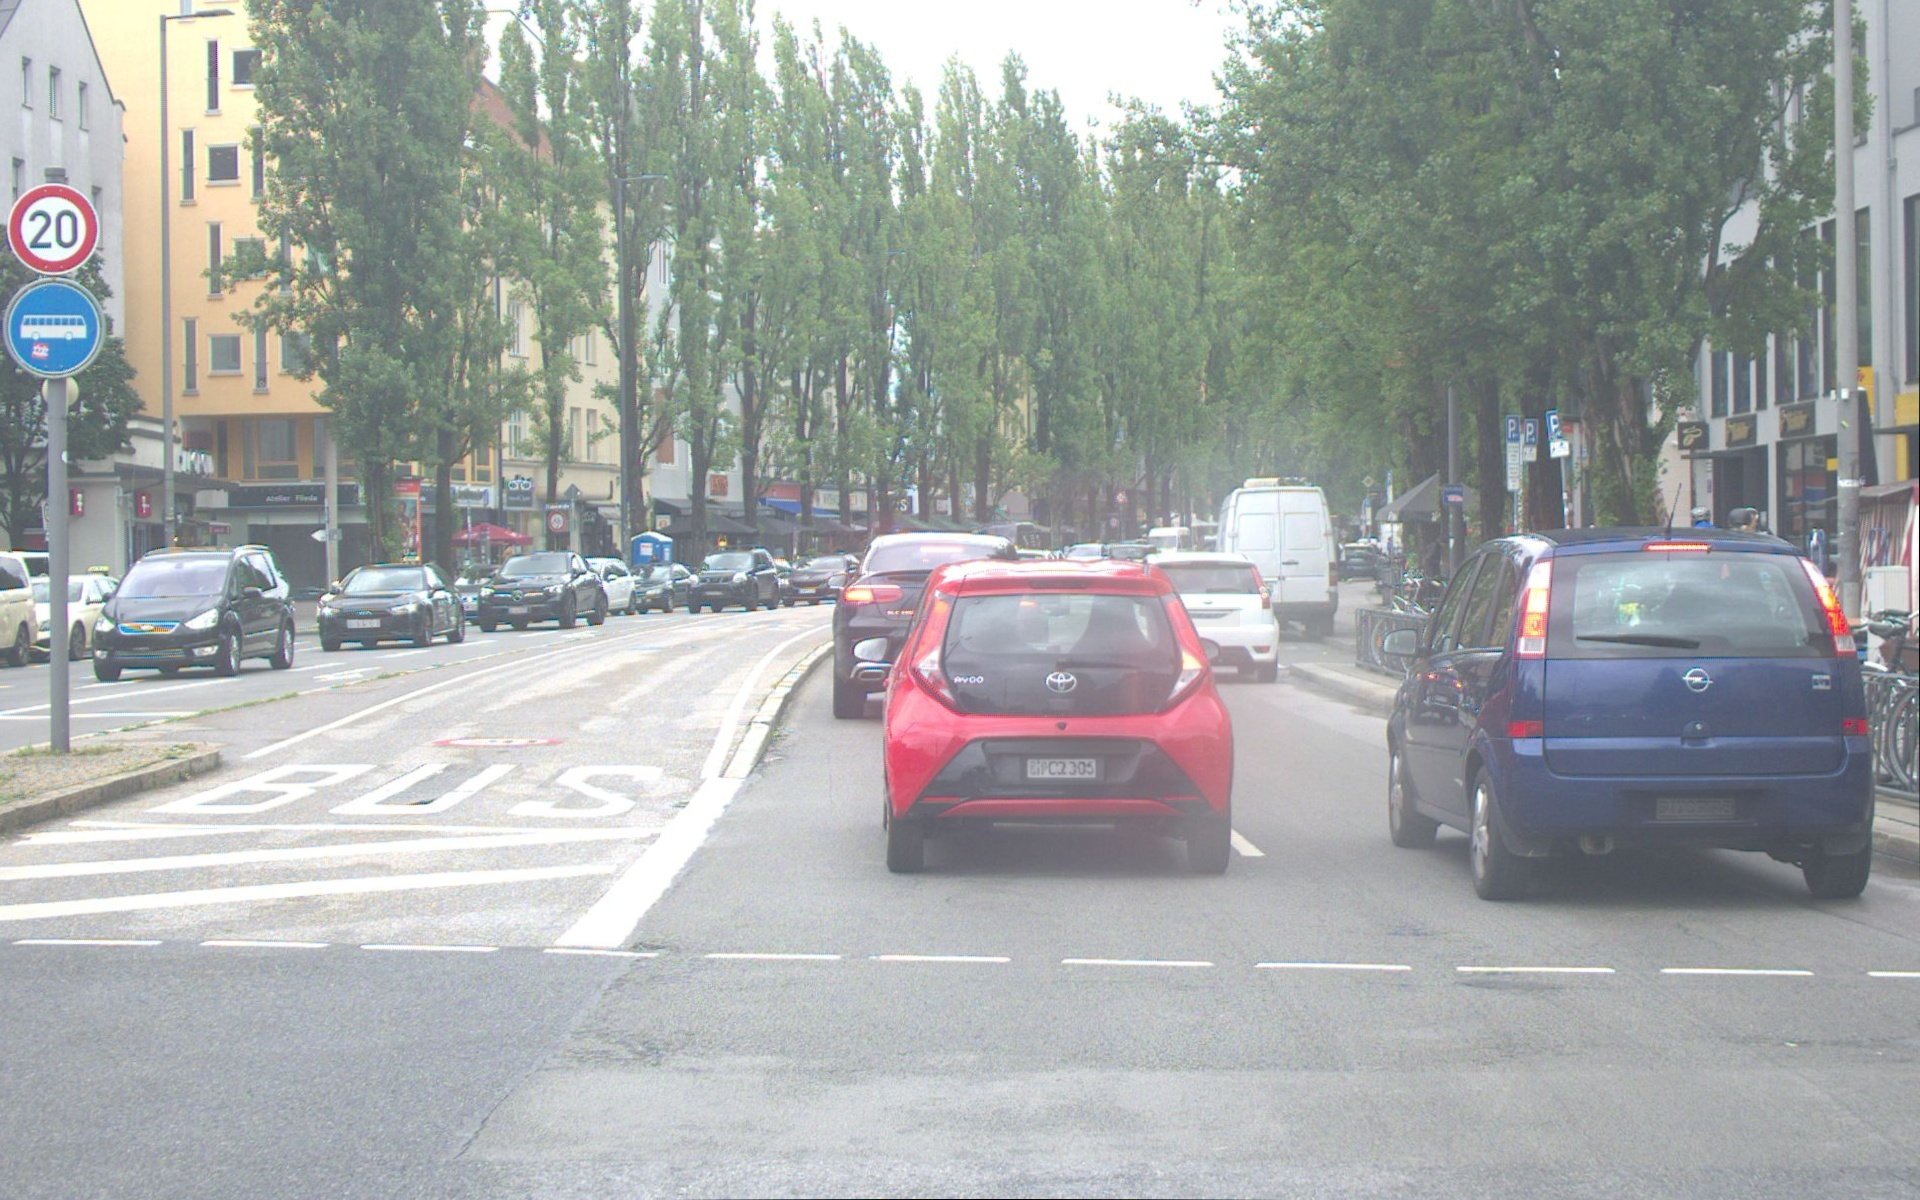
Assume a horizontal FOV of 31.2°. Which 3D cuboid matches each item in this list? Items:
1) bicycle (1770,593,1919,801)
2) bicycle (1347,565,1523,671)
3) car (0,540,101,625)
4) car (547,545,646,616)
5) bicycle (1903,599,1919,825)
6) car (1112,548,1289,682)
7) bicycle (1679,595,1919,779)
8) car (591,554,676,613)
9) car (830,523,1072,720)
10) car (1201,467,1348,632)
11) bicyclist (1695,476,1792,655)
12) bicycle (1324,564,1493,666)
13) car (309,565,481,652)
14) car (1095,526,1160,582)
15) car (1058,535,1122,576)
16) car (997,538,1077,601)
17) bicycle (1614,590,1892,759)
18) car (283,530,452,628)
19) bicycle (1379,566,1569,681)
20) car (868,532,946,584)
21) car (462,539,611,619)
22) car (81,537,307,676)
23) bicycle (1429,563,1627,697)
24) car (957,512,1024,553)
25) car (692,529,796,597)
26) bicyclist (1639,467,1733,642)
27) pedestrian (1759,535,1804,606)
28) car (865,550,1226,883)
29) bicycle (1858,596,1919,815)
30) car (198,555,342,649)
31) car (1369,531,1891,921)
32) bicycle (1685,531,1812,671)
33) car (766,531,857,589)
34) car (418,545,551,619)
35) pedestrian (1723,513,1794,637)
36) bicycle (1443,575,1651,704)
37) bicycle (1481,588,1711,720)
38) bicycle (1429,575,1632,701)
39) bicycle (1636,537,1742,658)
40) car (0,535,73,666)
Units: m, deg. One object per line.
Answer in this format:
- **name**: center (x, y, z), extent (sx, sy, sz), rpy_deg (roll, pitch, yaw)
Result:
- **bicycle**: center (5.594, 0.544, 19.542), extent (1.803, 1.154, 0.651), rpy_deg (0, 1, 36)
- **bicycle**: center (5.212, 0.188, 37.774), extent (1.836, 1.132, 0.585), rpy_deg (0, 1, 36)
- **car**: center (-20.459, -0.390, 74.944), extent (1.870, 1.766, 4.241), rpy_deg (-1, 1, 8)
- **car**: center (-9.702, -0.546, 92.122), extent (1.857, 1.809, 3.999), rpy_deg (1, 1, 5)
- **bicycle**: center (5.777, 0.572, 17.510), extent (1.802, 1.154, 0.486), rpy_deg (0, 1, 29)
- **car**: center (2.713, 0.137, 39.418), extent (1.699, 1.421, 3.497), rpy_deg (-1, 1, -1)
- **bicycle**: center (5.501, 0.530, 21.604), extent (1.803, 1.107, 0.651), rpy_deg (0, 1, 37)
- **car**: center (-9.085, -0.471, 95.886), extent (1.746, 1.565, 3.491), rpy_deg (-1, 1, 5)
- **car**: center (-0.105, 0.141, 30.709), extent (1.993, 1.612, 4.000), rpy_deg (-1, 1, -1)
- **car**: center (5.401, -0.891, 59.559), extent (2.107, 2.709, 4.804), rpy_deg (-1, 1, 1)
- **bicyclist**: center (7.427, -0.334, 32.634), extent (0.614, 1.652, 1.251), rpy_deg (-1, 1, 0)
- **bicycle**: center (5.113, 0.161, 39.241), extent (1.836, 1.132, 0.585), rpy_deg (0, 1, 36)
- **car**: center (-9.694, 0.118, 59.312), extent (1.845, 1.378, 4.600), rpy_deg (-1, 1, 5)
- **car**: center (5.708, -1.580, 116.609), extent (1.994, 1.831, 3.999), rpy_deg (-1, 1, 5)
- **car**: center (5.577, -1.922, 147.238), extent (1.994, 1.686, 4.411), rpy_deg (-1, 1, 12)
- **car**: center (1.874, -0.748, 82.562), extent (1.773, 1.434, 3.938), rpy_deg (-1, 1, 3)
- **bicycle**: center (5.447, 0.496, 23.680), extent (1.803, 1.107, 0.561), rpy_deg (0, 1, 41)
- **car**: center (-12.657, -0.485, 73.747), extent (1.994, 1.809, 4.531), rpy_deg (-4, 2, 11)
- **bicycle**: center (5.229, 0.234, 35.045), extent (1.836, 1.132, 0.585), rpy_deg (0, 1, 36)
- **car**: center (-1.746, -1.433, 115.027), extent (1.994, 1.686, 4.920), rpy_deg (0, 1, 6)
- **car**: center (-8.572, -0.448, 70.002), extent (1.994, 1.529, 4.586), rpy_deg (-1, 1, 6)
- **car**: center (-10.200, 0.044, 46.109), extent (1.936, 1.733, 4.588), rpy_deg (-1, 1, 0)
- **bicycle**: center (5.406, 0.277, 32.785), extent (1.836, 1.237, 0.585), rpy_deg (0, 1, 42)
- **car**: center (1.317, -2.861, 146.100), extent (1.994, 1.686, 4.411), rpy_deg (-1, 1, 12)
- **car**: center (-5.726, -1.000, 91.770), extent (1.994, 1.686, 4.920), rpy_deg (3, 1, 5)
- **bicyclist**: center (7.896, -0.496, 37.443), extent (0.762, 1.863, 1.133), rpy_deg (-1, 1, 0)
- **pedestrian**: center (15.102, -0.546, 63.227), extent (0.638, 1.301, 0.676), rpy_deg (-1, 1, 0)
- **car**: center (0.396, 0.499, 16.971), extent (1.605, 1.456, 3.130), rpy_deg (1, 1, 1)
- **bicycle**: center (5.713, 0.558, 18.165), extent (1.802, 1.154, 0.486), rpy_deg (0, 1, 30)
- **car**: center (-12.056, 0.018, 60.231), extent (1.624, 1.546, 3.384), rpy_deg (-1, 1, 4)
- **car**: center (2.977, 0.487, 15.963), extent (1.703, 1.584, 3.556), rpy_deg (-1, 1, 0)
- **bicycle**: center (7.440, -0.018, 32.539), extent (0.614, 1.260, 2.520), rpy_deg (-1, 1, 0)
- **car**: center (-4.469, -1.189, 104.134), extent (1.994, 1.686, 4.920), rpy_deg (-1, 0, 7)
- **car**: center (-10.999, -0.438, 79.861), extent (1.994, 1.604, 4.532), rpy_deg (-1, 1, 6)
- **pedestrian**: center (11.313, -0.357, 48.727), extent (0.790, 1.722, 0.764), rpy_deg (-1, 1, 0)
- **bicycle**: center (5.345, 0.345, 31.357), extent (1.836, 1.132, 0.585), rpy_deg (0, 1, 42)
- **bicycle**: center (5.282, 0.432, 28.626), extent (1.836, 1.048, 0.585), rpy_deg (0, 1, 42)
- **bicycle**: center (5.321, 0.339, 32.119), extent (1.836, 1.132, 0.585), rpy_deg (0, 1, 42)
- **bicycle**: center (7.916, -0.051, 37.437), extent (0.614, 1.260, 2.520), rpy_deg (-1, 1, 0)
- **car**: center (-15.958, 0.021, 54.524), extent (1.994, 2.007, 5.523), rpy_deg (-1, 2, 4)
